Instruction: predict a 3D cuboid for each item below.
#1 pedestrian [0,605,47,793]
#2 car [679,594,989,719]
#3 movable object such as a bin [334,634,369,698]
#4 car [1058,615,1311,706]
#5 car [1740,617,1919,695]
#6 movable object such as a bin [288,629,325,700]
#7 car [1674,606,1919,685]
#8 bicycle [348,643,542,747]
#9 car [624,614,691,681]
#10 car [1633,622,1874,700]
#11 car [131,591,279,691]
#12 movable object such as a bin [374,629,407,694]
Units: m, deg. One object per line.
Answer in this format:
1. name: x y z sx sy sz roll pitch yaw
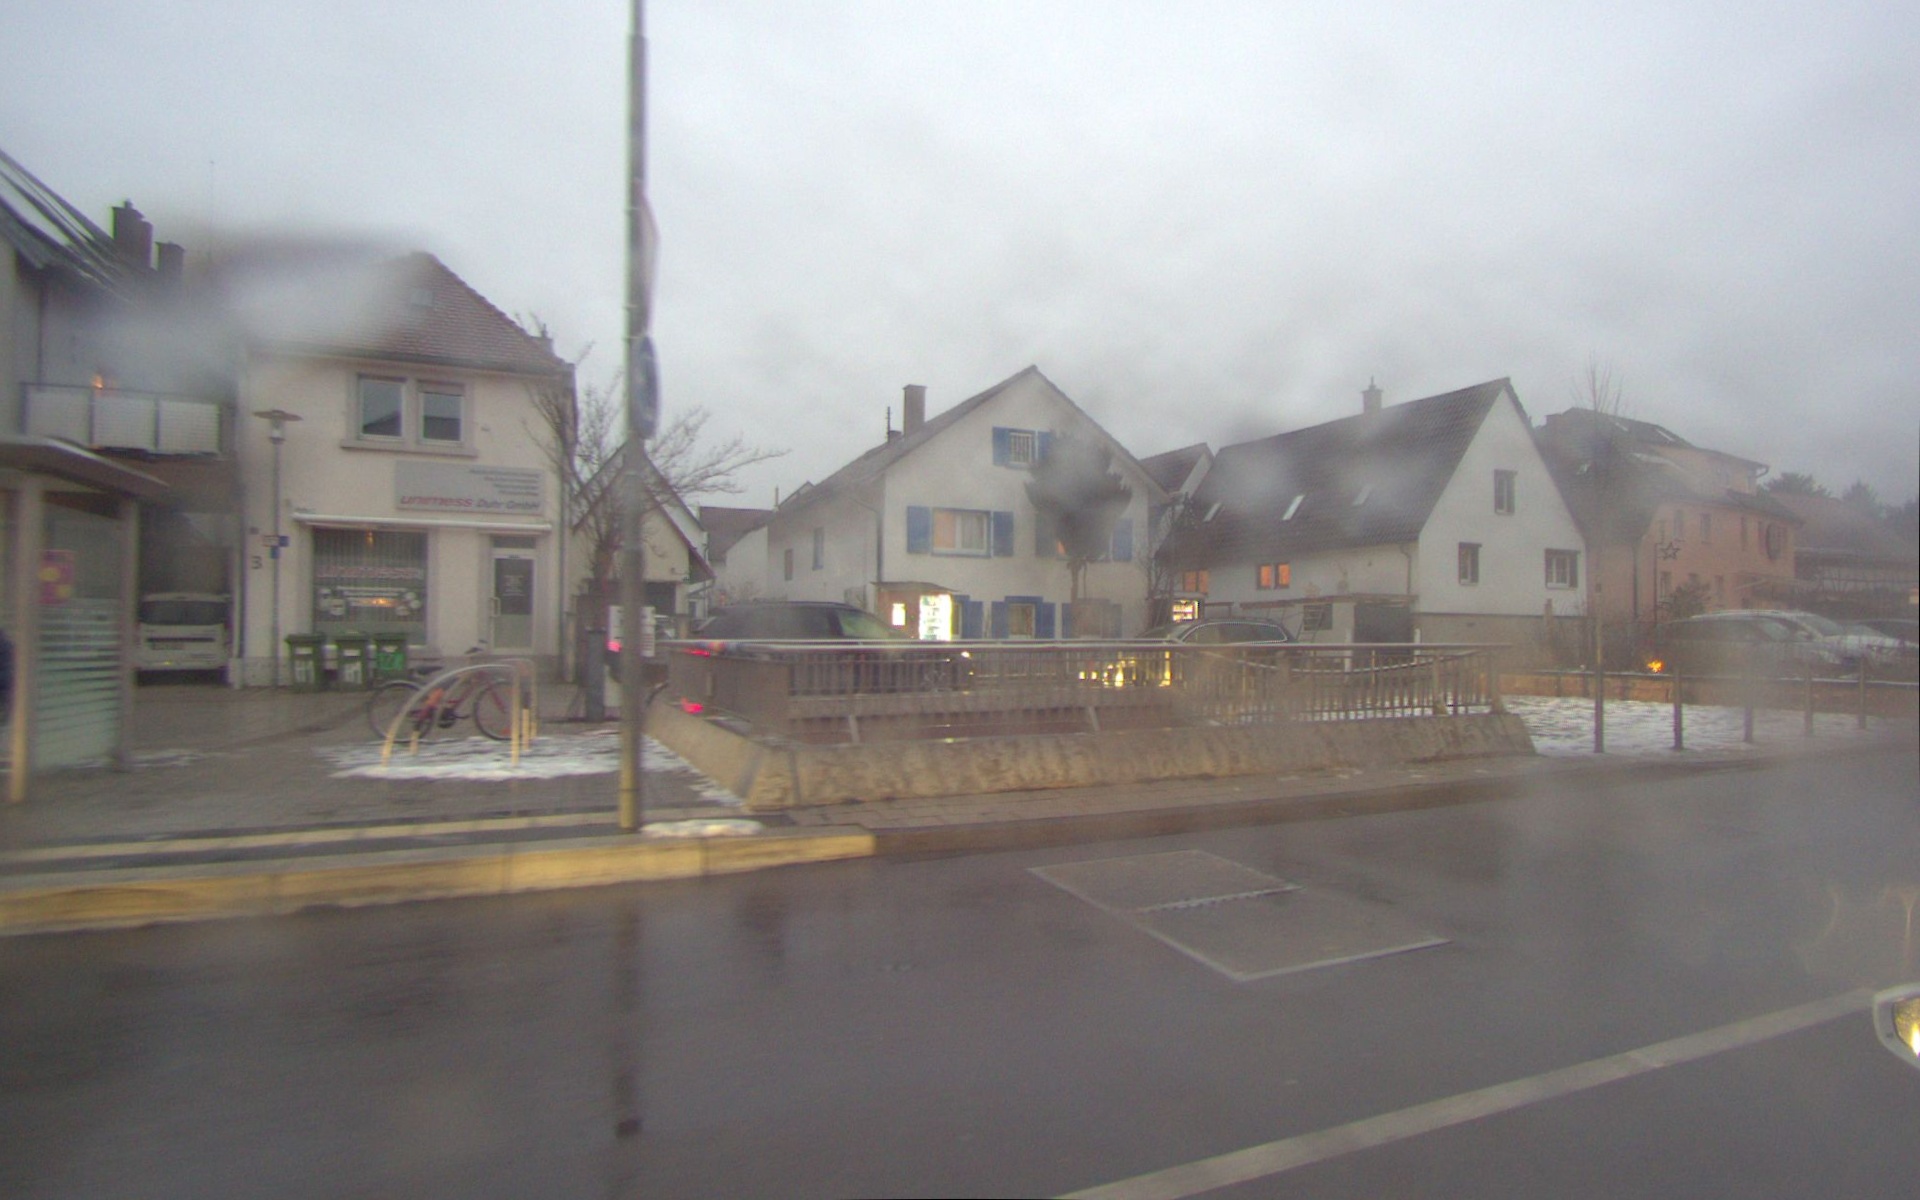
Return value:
1. pedestrian: -7.078 0.684 7.107 0.740 1.288 0.683 0 0 -25
2. car: -1.954 0.840 15.679 4.501 1.723 1.751 0 -3 -24
3. movable object such as a bin: -10.971 1.185 18.110 0.447 1.135 0.286 3 -1 -25
4. car: 4.207 1.072 18.677 4.514 1.502 1.796 0 -3 -28
5. car: 20.435 1.227 22.768 1.566 1.629 4.080 1 -1 -26
6. movable object such as a bin: -11.602 1.142 17.835 0.447 1.225 0.286 3 -1 -25
7. car: 17.882 0.925 21.626 1.690 1.543 3.785 1 -1 -23
8. bicycle: -5.298 0.966 10.414 1.709 1.023 0.470 1 -1 -14
9. car: -9.917 1.555 32.732 1.810 2.045 3.566 0 -3 -21
10. car: 15.650 1.153 19.973 1.582 1.390 3.429 1 -2 -30
11. car: -15.452 0.834 20.740 1.491 1.877 3.411 2 -2 -21
12. movable object such as a bin: -10.411 1.118 18.364 0.447 1.157 0.286 3 -1 -25
